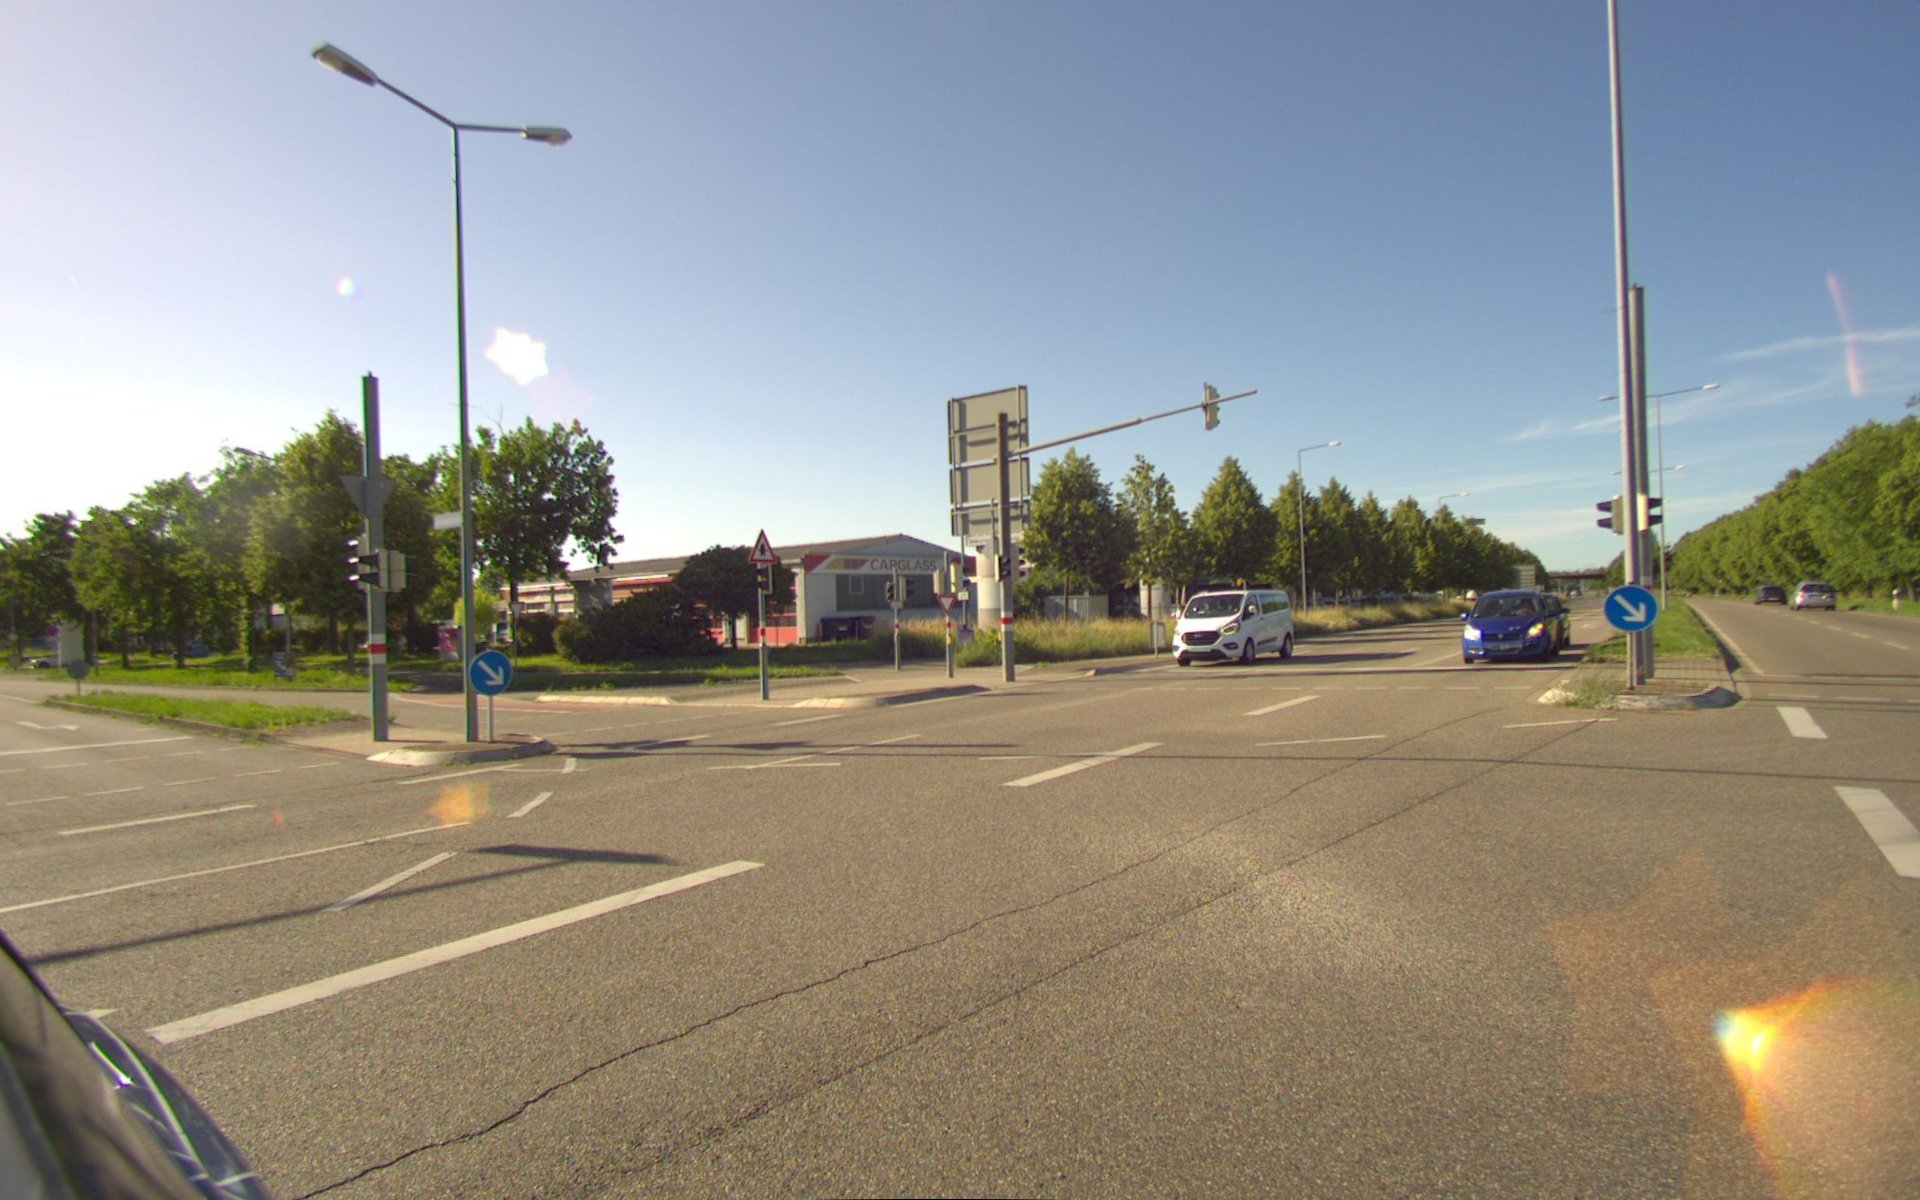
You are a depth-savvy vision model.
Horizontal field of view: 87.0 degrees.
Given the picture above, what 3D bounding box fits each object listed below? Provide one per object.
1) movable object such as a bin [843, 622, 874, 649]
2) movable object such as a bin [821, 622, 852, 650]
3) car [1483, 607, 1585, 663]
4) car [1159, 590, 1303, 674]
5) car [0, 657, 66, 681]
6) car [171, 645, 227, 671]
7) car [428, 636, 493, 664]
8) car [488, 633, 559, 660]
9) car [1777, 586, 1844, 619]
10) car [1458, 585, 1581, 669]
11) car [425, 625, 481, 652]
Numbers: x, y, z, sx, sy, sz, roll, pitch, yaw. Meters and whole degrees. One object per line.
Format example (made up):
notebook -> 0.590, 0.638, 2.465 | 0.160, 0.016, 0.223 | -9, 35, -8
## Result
movable object such as a bin -> -5.172, 1.828, 51.575 | 0.992, 1.308, 1.116 | -4, -2, 41
movable object such as a bin -> -6.131, 1.780, 50.159 | 0.992, 1.308, 1.116 | -4, -2, 41
car -> 15.357, 0.892, 26.988 | 1.889, 1.284, 3.991 | -5, -3, 35
car -> 7.583, 0.841, 27.904 | 2.043, 2.029, 5.212 | -5, -3, 35
car -> -74.889, 5.518, 81.407 | 4.427, 1.719, 2.002 | -1, -2, -43
car -> -70.125, 5.317, 93.254 | 3.938, 2.029, 2.003 | -3, 0, -40
car -> -41.704, 4.138, 84.508 | 4.425, 1.960, 2.000 | -3, 0, -42
car -> -31.161, 3.284, 72.295 | 1.996, 1.599, 4.185 | -4, 0, 40
car -> 47.370, 0.173, 56.463 | 2.040, 1.628, 4.372 | -5, -3, 30
car -> 12.618, 0.581, 22.697 | 1.889, 1.656, 3.991 | -5, -3, 35
car -> -45.899, 3.473, 91.668 | 1.776, 2.233, 4.160 | -4, -2, 39
